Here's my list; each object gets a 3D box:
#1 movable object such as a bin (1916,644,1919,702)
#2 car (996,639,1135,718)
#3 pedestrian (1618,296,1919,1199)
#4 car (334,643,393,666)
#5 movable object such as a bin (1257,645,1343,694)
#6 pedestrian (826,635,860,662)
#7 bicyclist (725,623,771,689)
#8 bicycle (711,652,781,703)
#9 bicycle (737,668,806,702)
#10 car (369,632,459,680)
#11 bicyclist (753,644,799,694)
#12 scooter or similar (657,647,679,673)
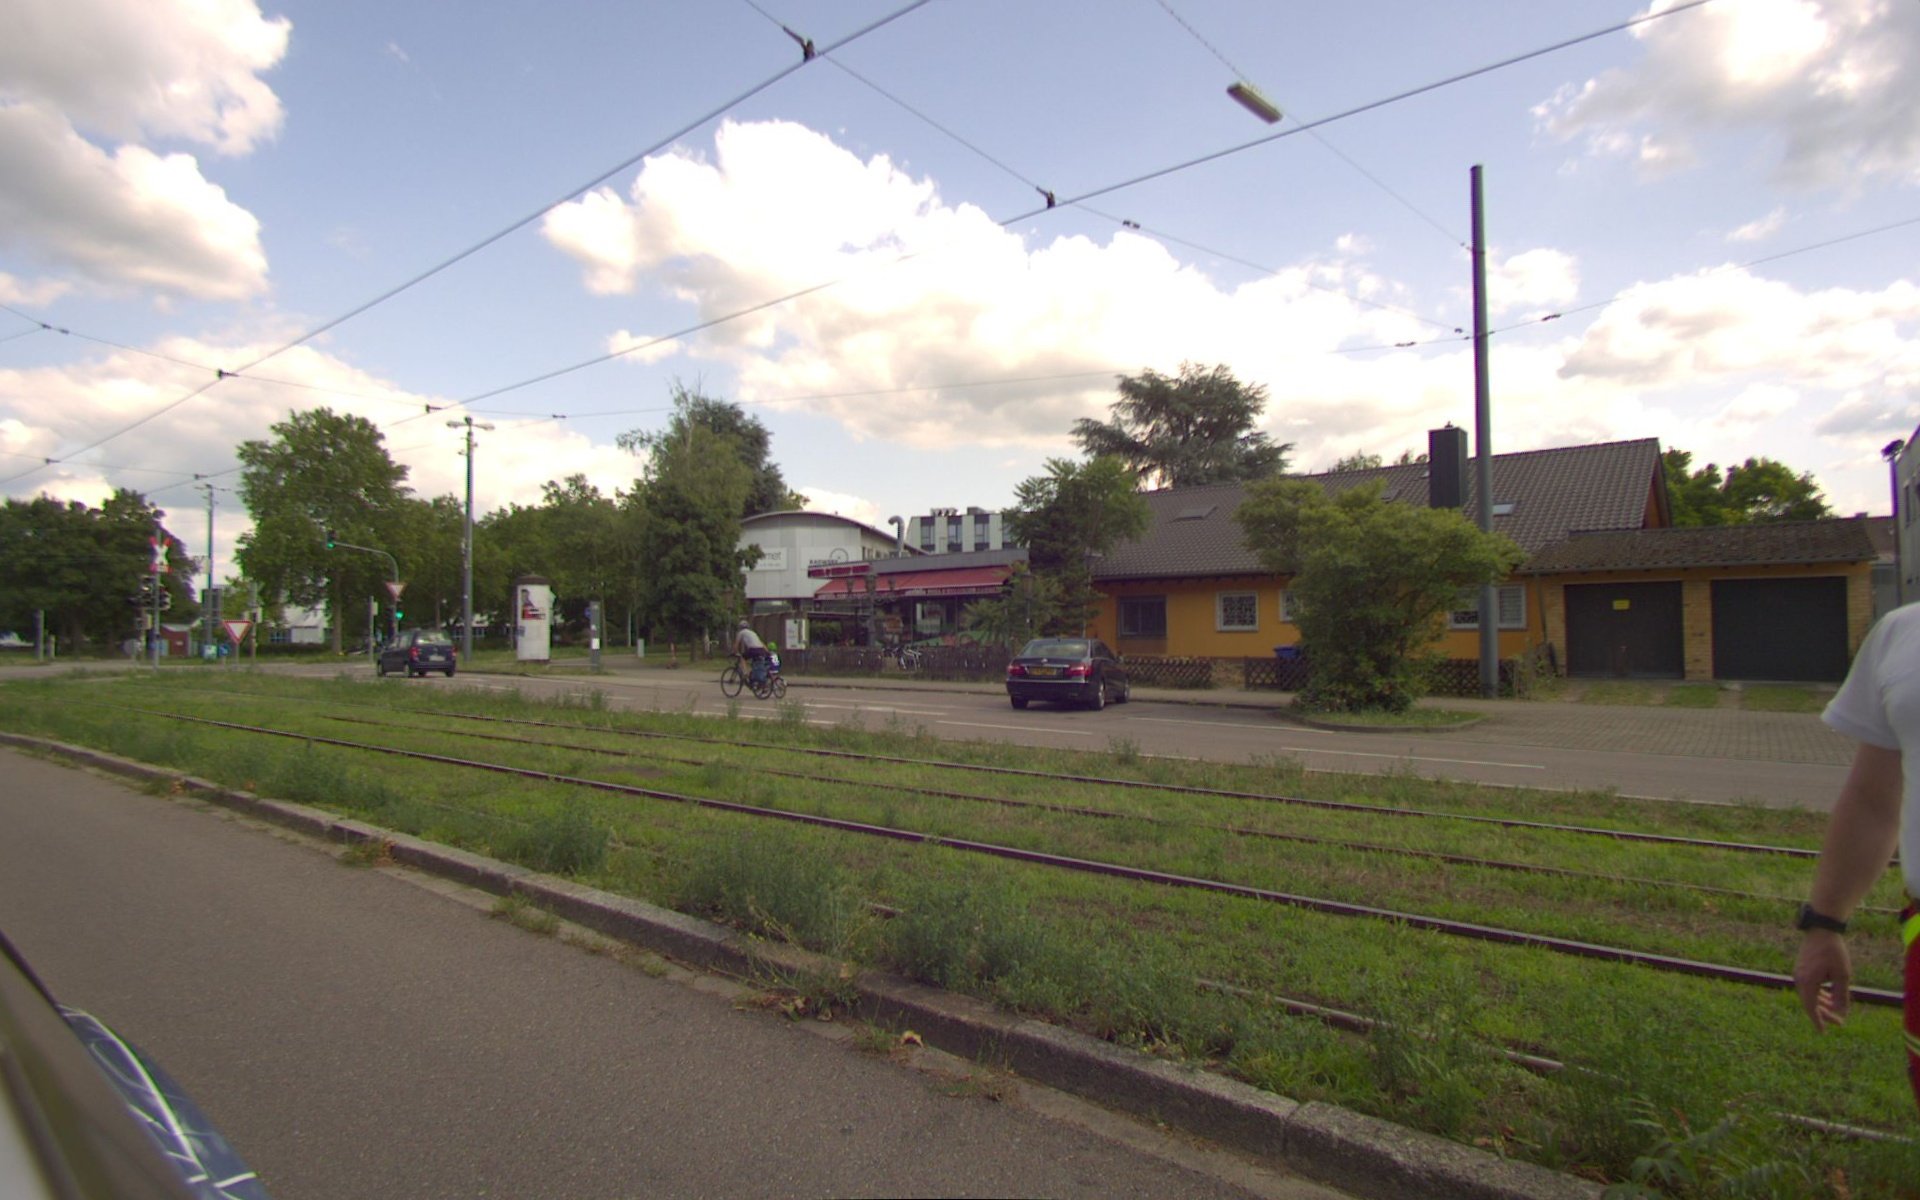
[{"bbox_3d":[17.695,1.338,18.331,0.479,1.050,0.488,-3,-2,40],"label":"movable object such as a bin"},{"bbox_3d":[2.342,1.538,21.192,1.869,1.418,4.620,0,-2,19],"label":"car"},{"bbox_3d":[1.581,0.475,1.363,0.836,1.699,0.808,0,-2,-26],"label":"pedestrian"},{"bbox_3d":[-42.549,3.858,72.277,1.679,1.535,3.848,-1,-2,7],"label":"car"},{"bbox_3d":[8.166,1.646,24.303,1.616,1.109,1.242,-2,-3,38],"label":"movable object such as a bin"},{"bbox_3d":[-5.032,2.086,43.509,0.931,1.155,1.141,-2,-3,41],"label":"pedestrian"},{"bbox_3d":[-4.827,1.271,23.022,0.928,1.469,0.616,-2,-3,42],"label":"bicyclist"},{"bbox_3d":[-4.886,1.742,23.057,1.804,1.088,0.638,-2,-3,43],"label":"bicycle"},{"bbox_3d":[-4.409,1.961,23.615,1.804,0.723,0.638,-2,-3,43],"label":"bicycle"},{"bbox_3d":[-19.441,1.944,35.999,3.495,1.639,1.759,-2,-2,42],"label":"car"},{"bbox_3d":[-4.278,1.584,23.506,0.928,1.121,0.632,-2,-3,43],"label":"bicyclist"},{"bbox_3d":[-12.197,2.508,42.300,0.421,1.041,1.225,1,-3,-40],"label":"scooter or similar"}]
